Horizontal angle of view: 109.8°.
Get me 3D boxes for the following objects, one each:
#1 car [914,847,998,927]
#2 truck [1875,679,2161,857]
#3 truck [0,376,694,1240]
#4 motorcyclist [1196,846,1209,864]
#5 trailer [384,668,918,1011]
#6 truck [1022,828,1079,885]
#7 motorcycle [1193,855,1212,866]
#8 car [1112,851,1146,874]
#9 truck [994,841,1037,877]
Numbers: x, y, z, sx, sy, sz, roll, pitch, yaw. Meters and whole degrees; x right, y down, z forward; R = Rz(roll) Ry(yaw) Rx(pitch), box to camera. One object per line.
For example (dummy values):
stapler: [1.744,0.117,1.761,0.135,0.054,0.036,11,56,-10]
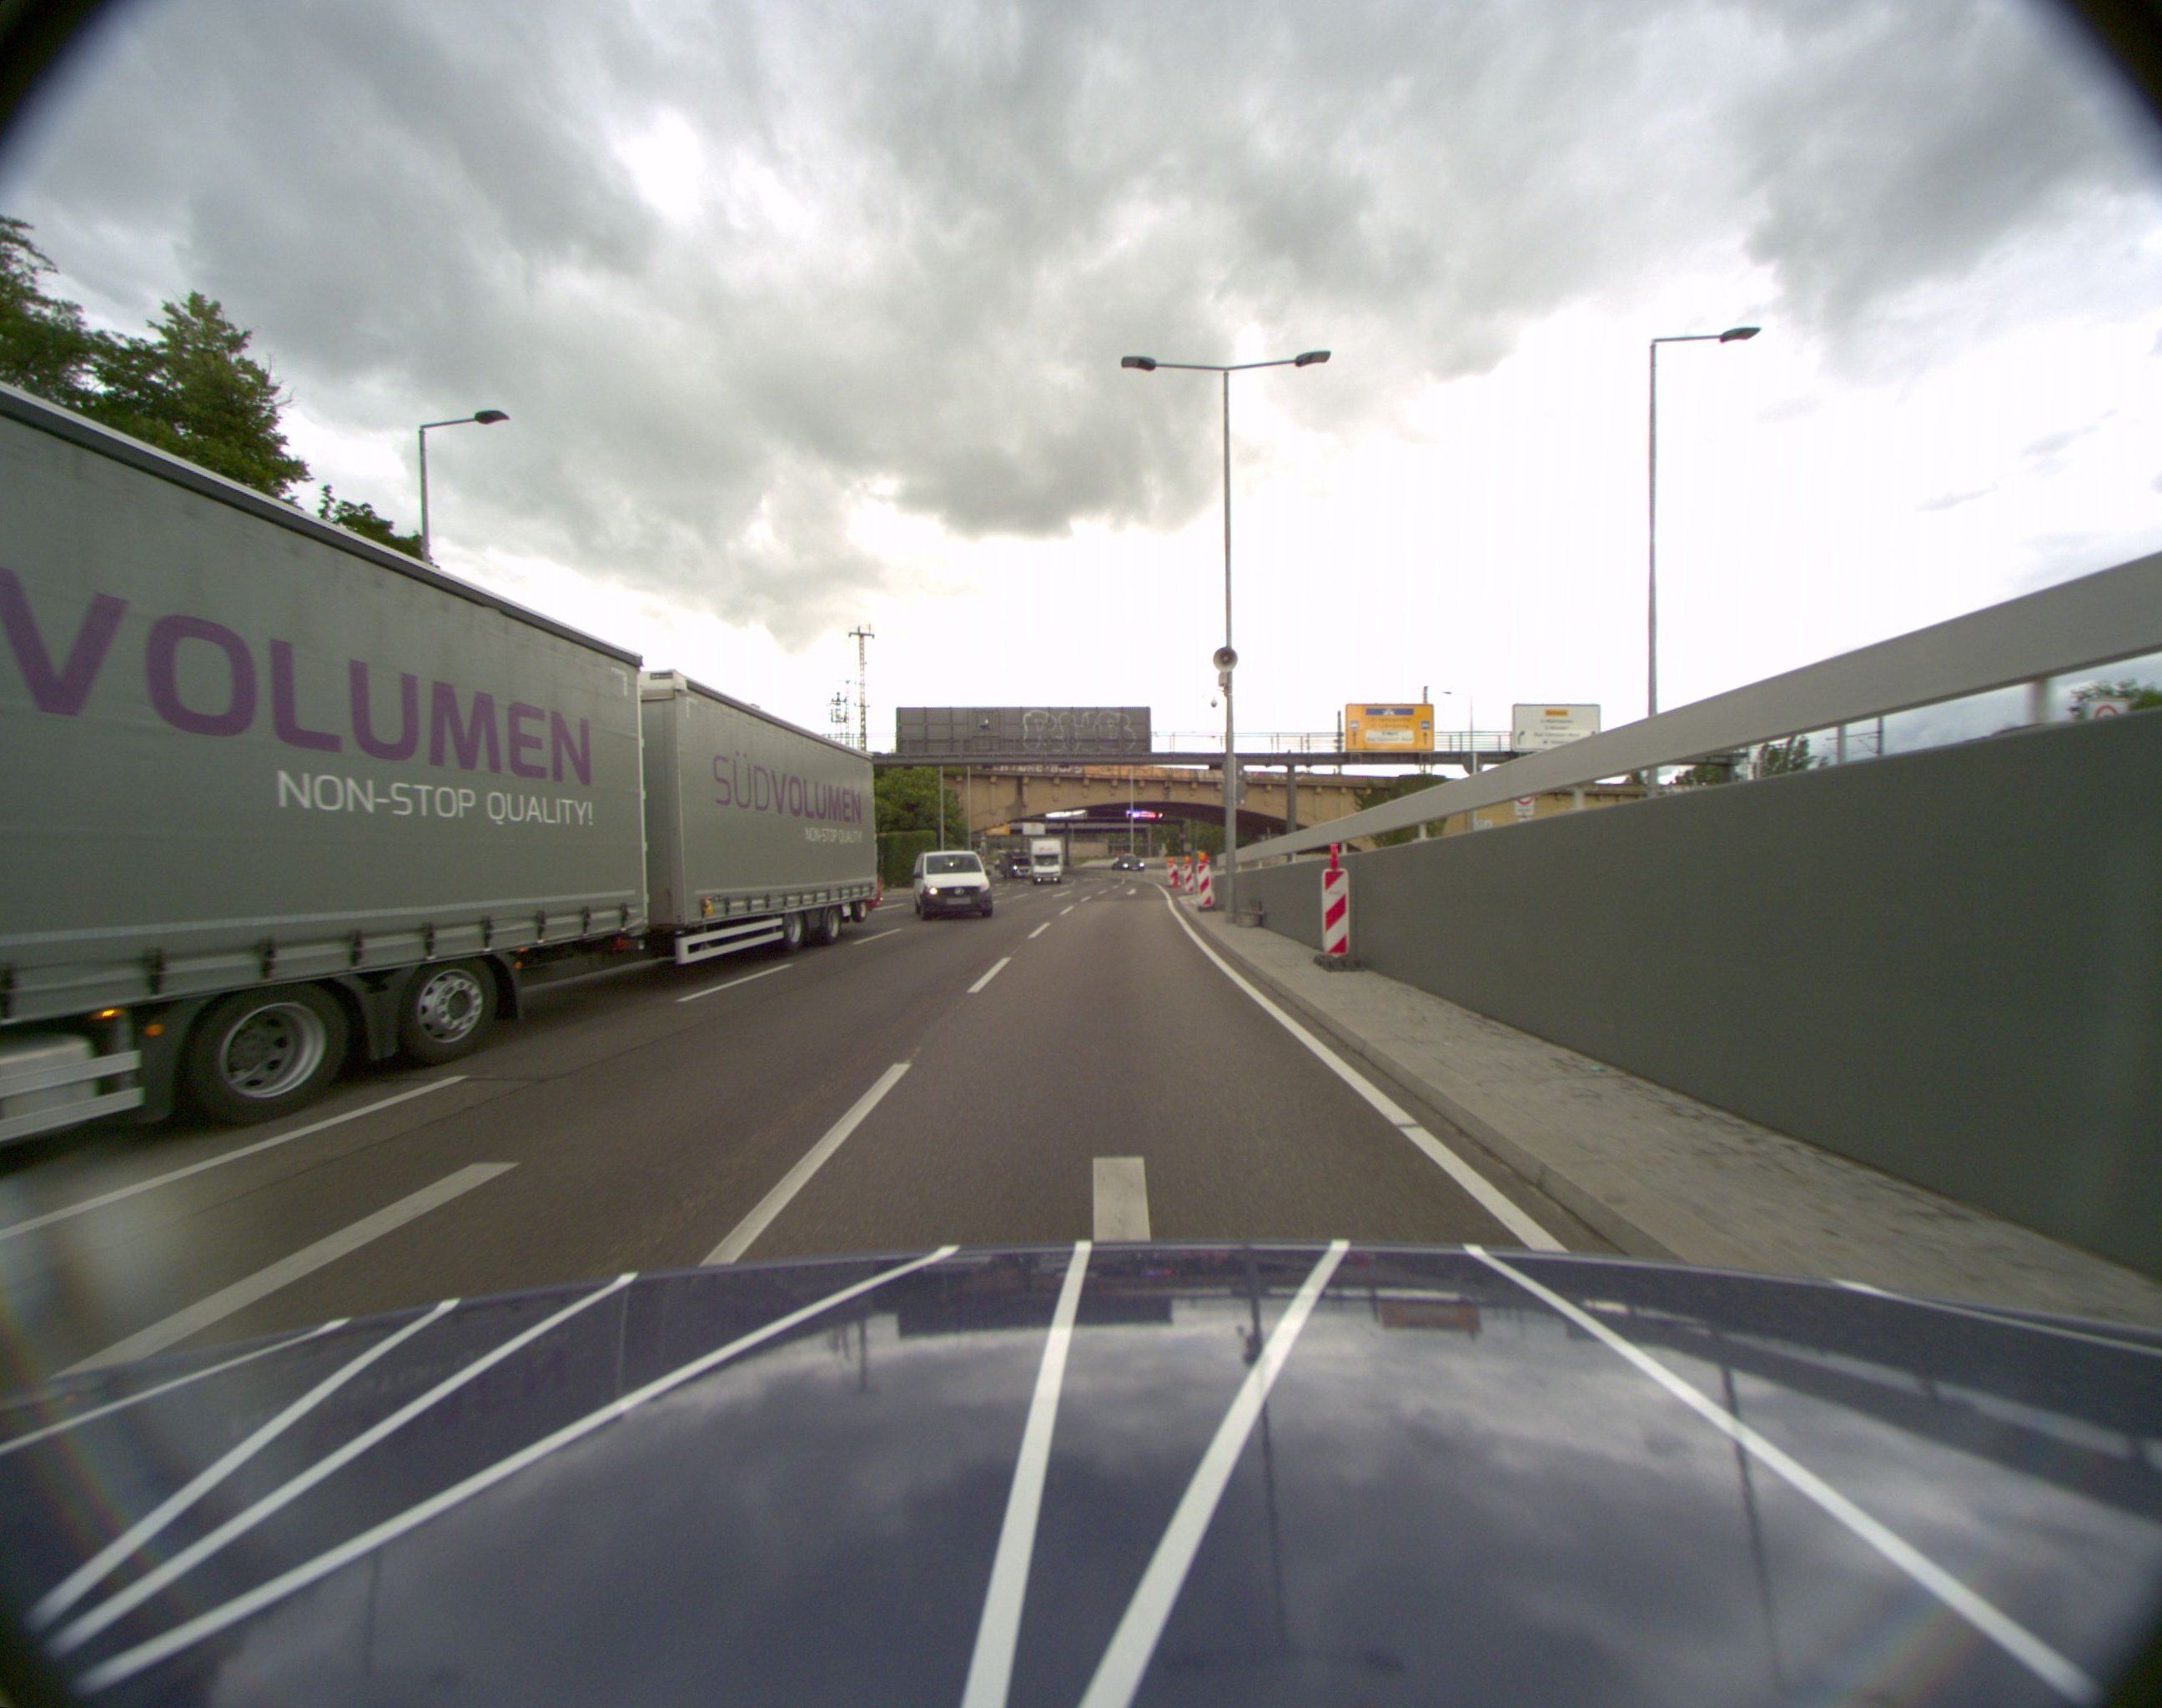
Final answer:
car: [-3.807,0.871,22.348,2.001,1.978,5.193,-3,0,-13]
truck: [23.163,-1.916,15.218,2.740,3.369,10.620,-4,-2,-3]
truck: [-6.988,-0.174,4.013,3.733,4.117,10.984,-2,0,2]
motorcyclist: [11.439,0.101,71.574,0.667,1.596,1.101,-3,0,-19]
trailer: [-6.548,-0.179,14.950,3.733,4.117,10.984,-2,0,2]
truck: [-2.077,0.088,55.666,3.032,3.566,8.951,-5,1,3]
motorcycle: [11.457,0.620,71.574,0.667,0.911,2.391,-3,-1,-19]
car: [4.115,0.721,65.703,1.869,1.827,4.201,-2,0,-11]
truck: [-7.112,0.515,81.257,2.577,3.548,9.101,-2,0,-18]
